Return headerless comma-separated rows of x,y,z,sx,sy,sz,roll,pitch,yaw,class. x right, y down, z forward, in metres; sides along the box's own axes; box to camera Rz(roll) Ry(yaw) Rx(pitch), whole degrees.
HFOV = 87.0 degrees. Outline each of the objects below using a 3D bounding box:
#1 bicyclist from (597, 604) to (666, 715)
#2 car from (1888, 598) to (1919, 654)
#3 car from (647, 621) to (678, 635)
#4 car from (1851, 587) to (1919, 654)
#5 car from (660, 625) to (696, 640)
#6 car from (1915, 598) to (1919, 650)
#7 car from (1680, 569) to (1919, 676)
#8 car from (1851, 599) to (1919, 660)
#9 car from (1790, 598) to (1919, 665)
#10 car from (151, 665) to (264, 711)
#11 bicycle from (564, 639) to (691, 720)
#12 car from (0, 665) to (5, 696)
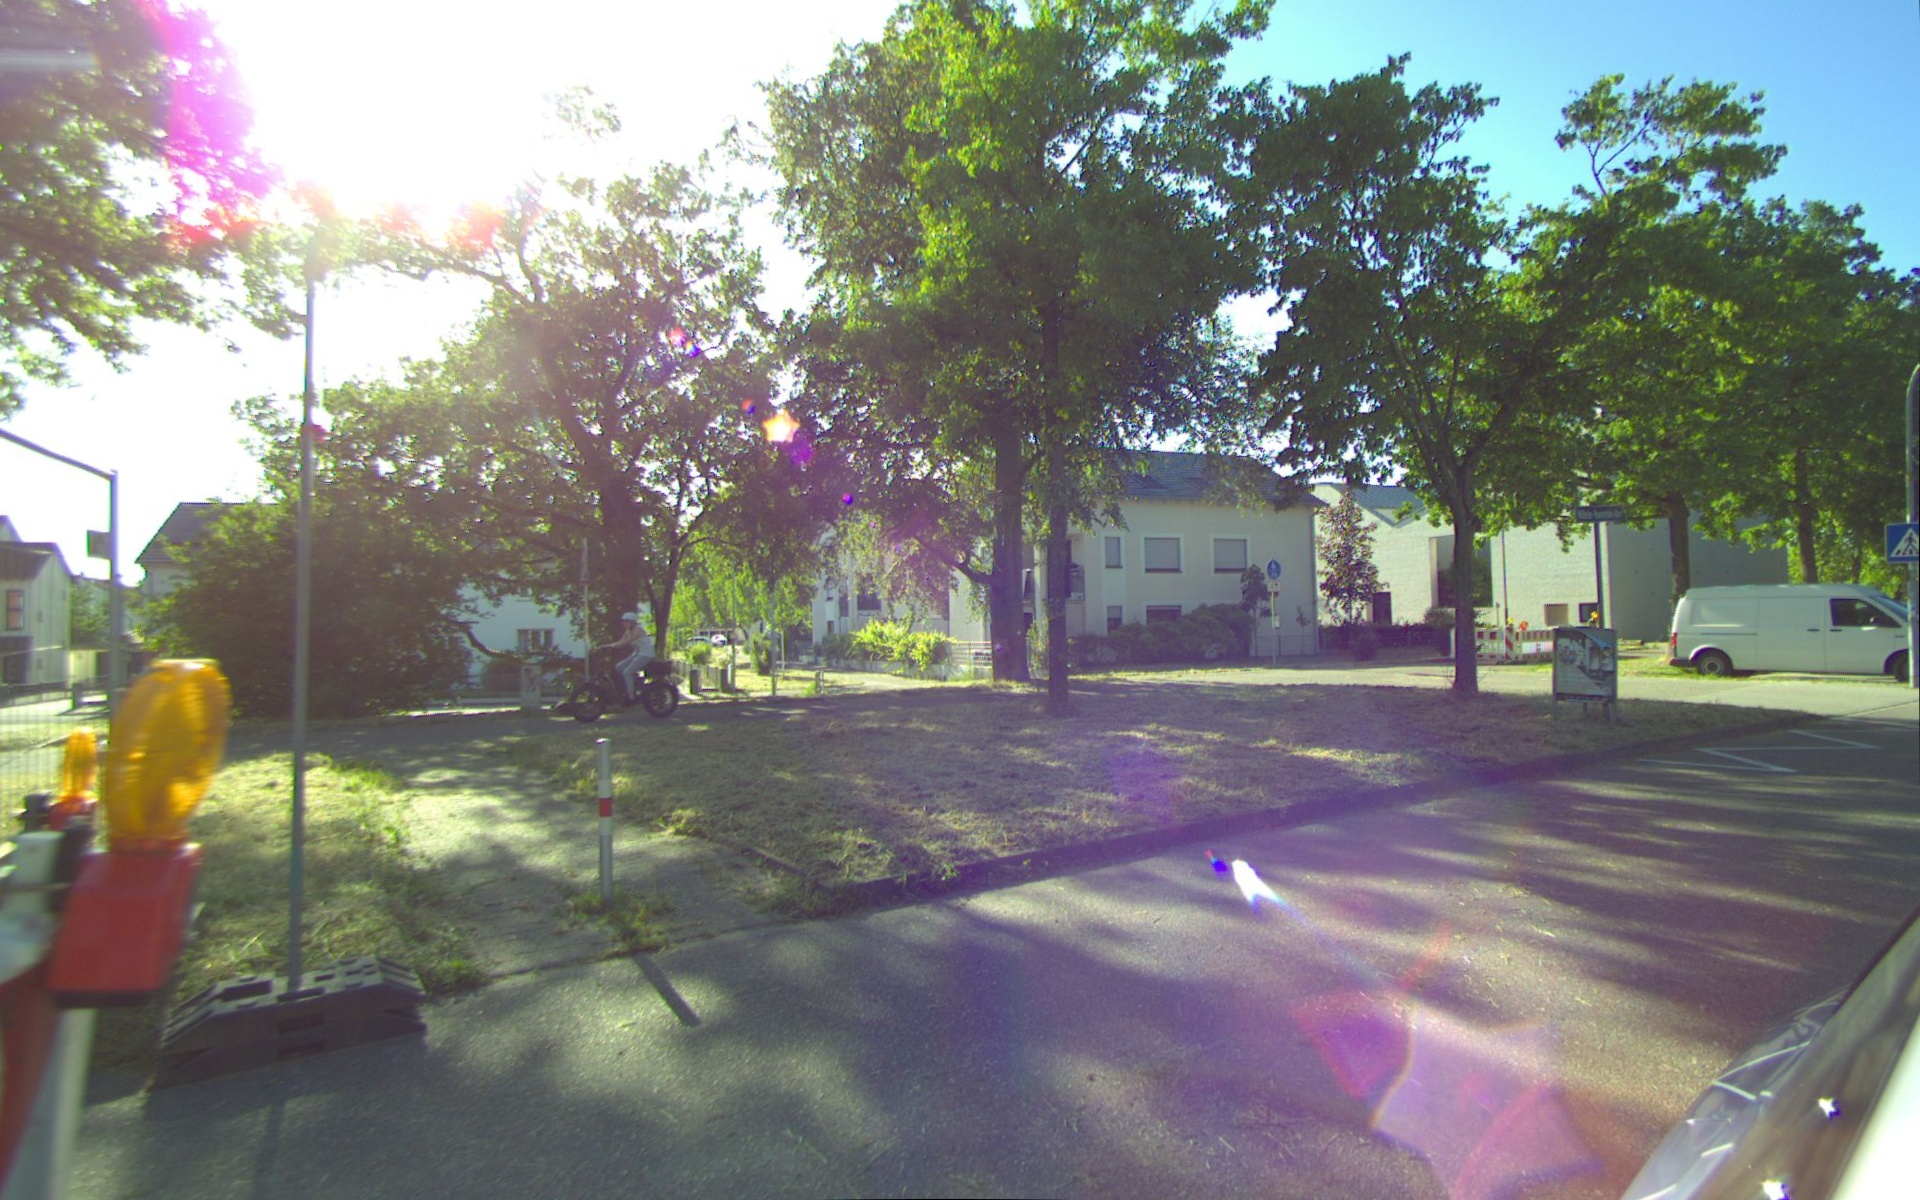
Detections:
-5.233,0.934,16.102,0.833,1.687,0.727,-1,-3,-35,bicyclist
30.637,0.738,30.186,1.502,1.701,4.024,0,-3,-32,car
-45.542,4.289,154.949,4.523,2.040,2.003,-1,-2,-18,car
27.066,0.512,27.418,1.679,1.817,4.024,0,-3,-32,car
-40.329,4.608,144.681,4.536,2.040,1.998,0,-3,-38,car
33.055,0.687,31.880,1.502,1.681,4.024,0,-3,-32,car
18.809,0.486,21.774,1.854,2.108,5.049,0,-1,-34,car
25.197,0.720,25.703,1.420,1.562,3.520,0,-3,-32,car
23.079,0.759,24.667,1.723,1.583,4.001,0,-3,-32,car
-28.672,3.323,38.650,3.119,1.572,1.531,-1,-2,-7,car
-5.275,1.236,16.100,1.795,1.165,0.677,0,-3,-35,bicycle
-46.783,3.867,47.478,1.420,1.518,3.645,-1,-2,-17,car
